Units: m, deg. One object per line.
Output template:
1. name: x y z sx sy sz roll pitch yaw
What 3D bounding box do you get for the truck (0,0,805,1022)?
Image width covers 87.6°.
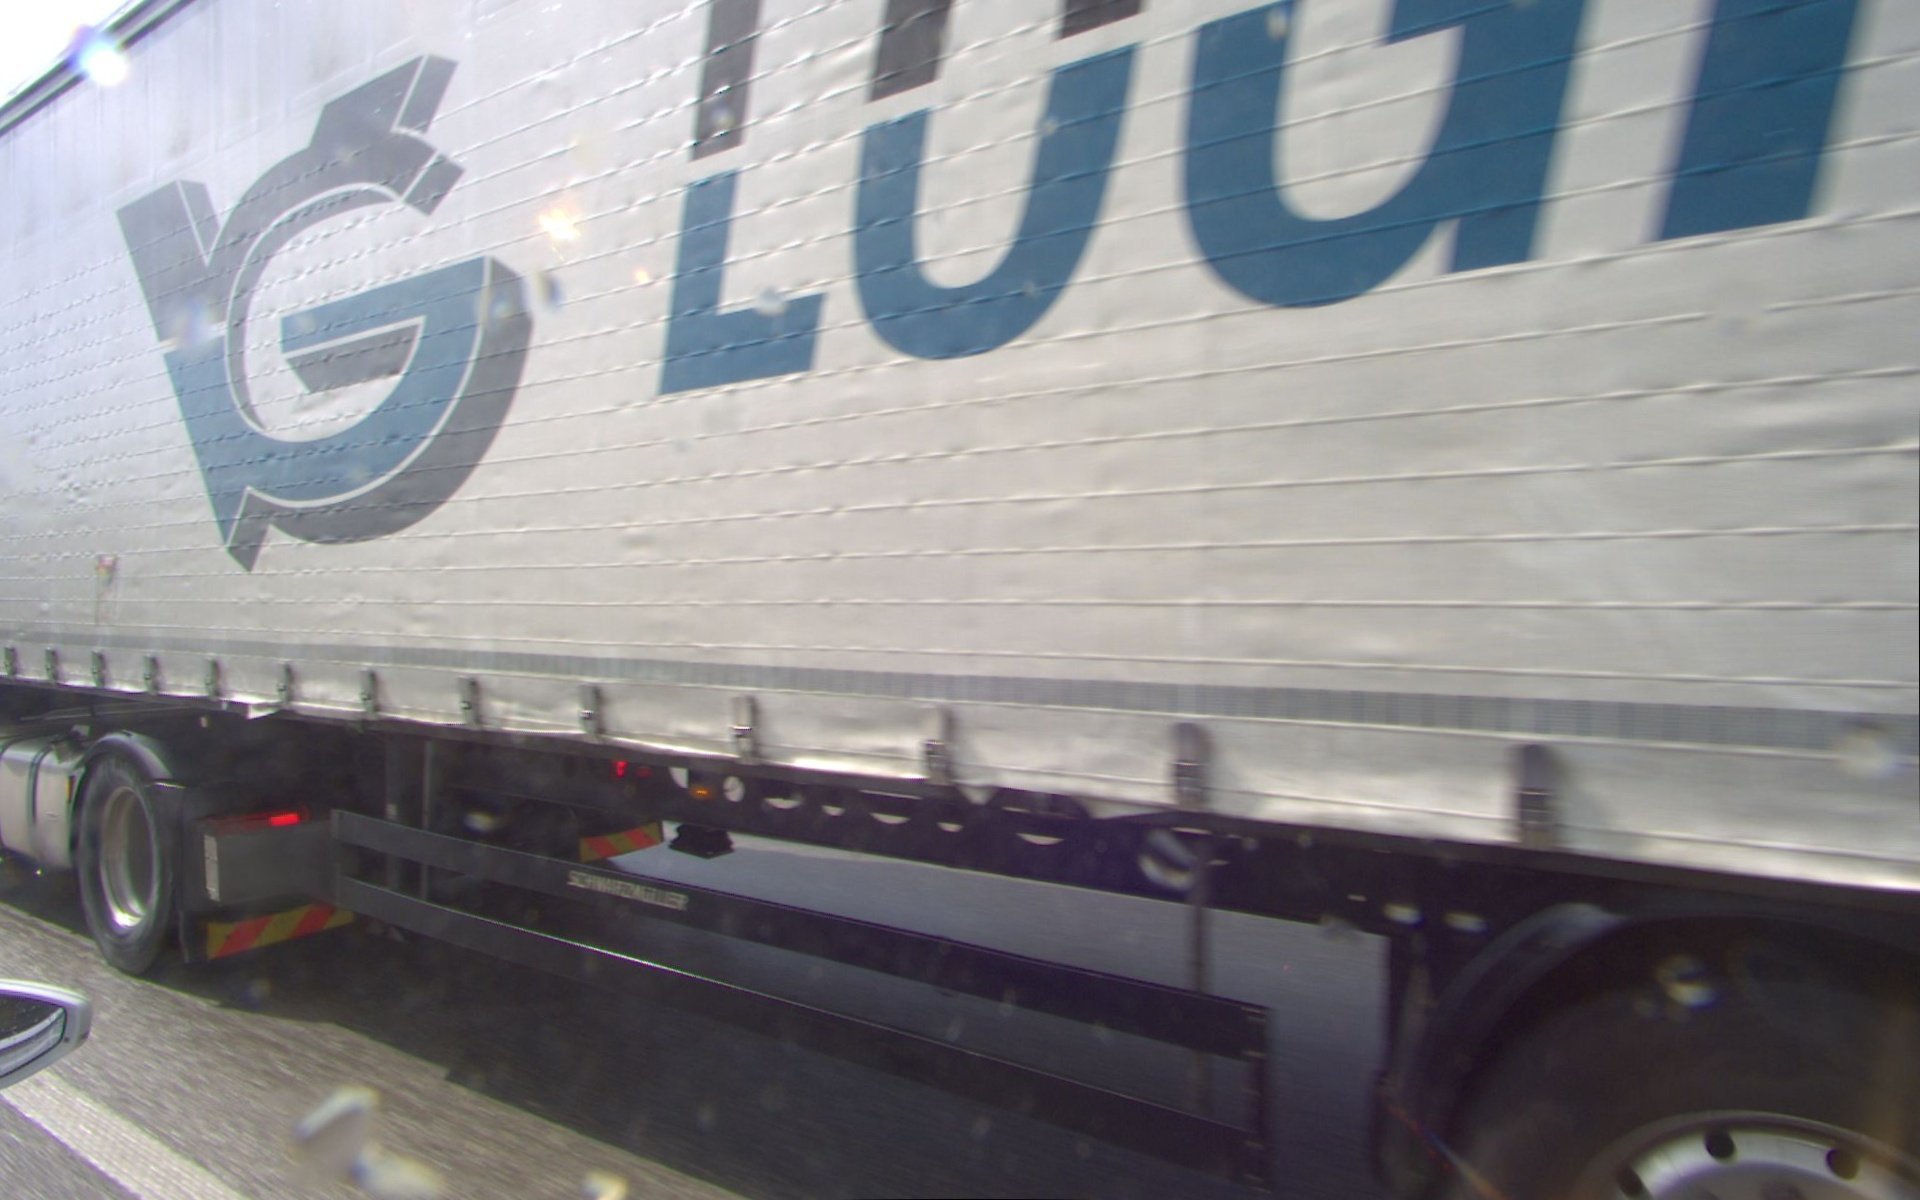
1. truck: -4.528 -0.387 6.632 6.303 3.940 3.280 -1 -2 31

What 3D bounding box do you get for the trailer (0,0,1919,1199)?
1. trailer: 1.050 -0.449 3.159 13.922 3.948 3.279 -1 -2 31
